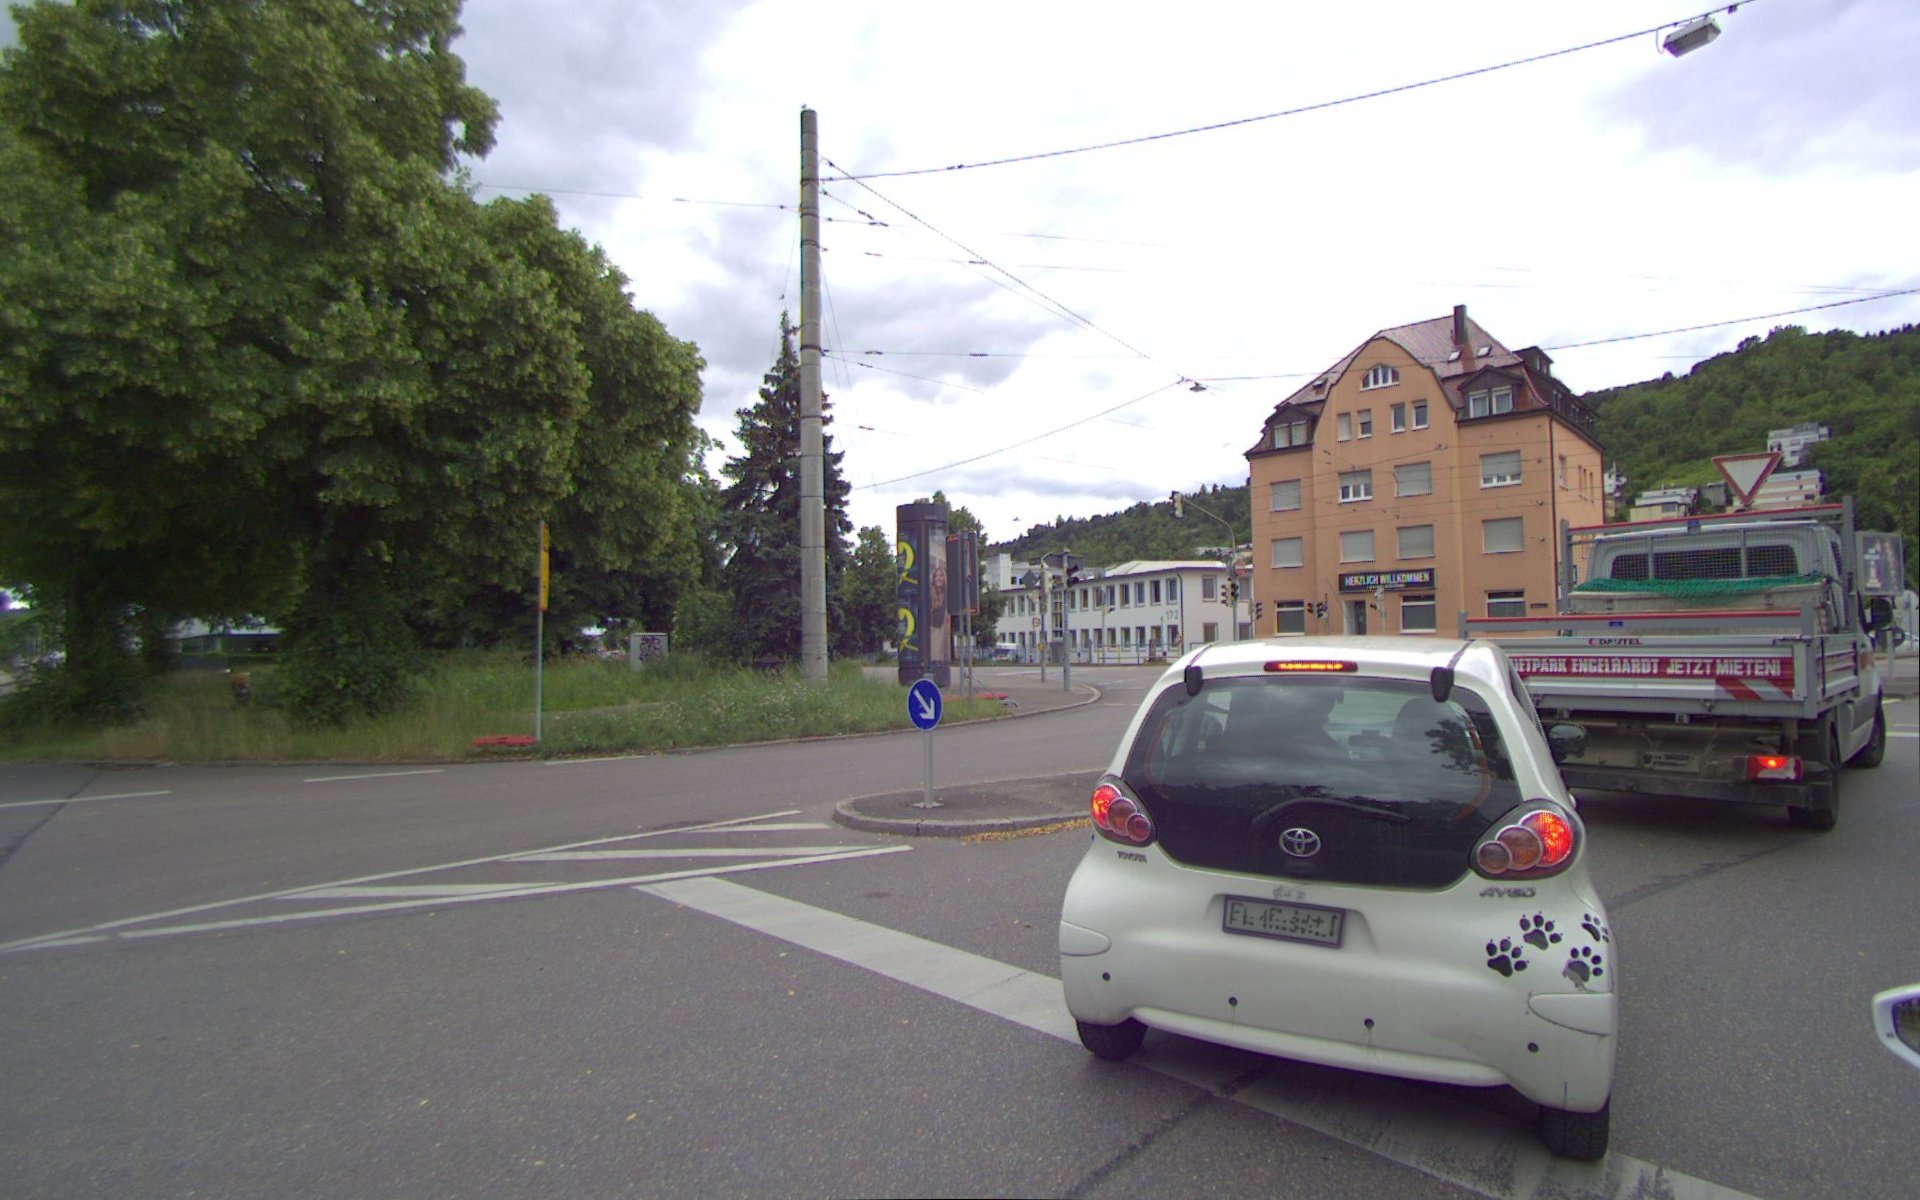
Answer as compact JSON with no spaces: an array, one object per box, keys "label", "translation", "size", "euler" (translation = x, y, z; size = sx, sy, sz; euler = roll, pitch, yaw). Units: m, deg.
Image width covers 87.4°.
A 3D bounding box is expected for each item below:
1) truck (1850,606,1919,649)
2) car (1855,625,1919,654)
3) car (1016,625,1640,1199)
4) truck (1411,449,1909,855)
[{"label":"truck","translation":[55.298,1.563,58.281],"size":[5.112,2.424,1.995],"euler":[-3,-3,33]},{"label":"car","translation":[52.930,2.206,56.155],"size":[1.764,1.553,4.162],"euler":[1,-3,-44]},{"label":"car","translation":[1.721,0.876,4.328],"size":[1.615,1.451,3.426],"euler":[-3,-3,28]},{"label":"truck","translation":[6.525,0.404,8.964],"size":[5.986,2.429,2.399],"euler":[1,-4,-43]}]
